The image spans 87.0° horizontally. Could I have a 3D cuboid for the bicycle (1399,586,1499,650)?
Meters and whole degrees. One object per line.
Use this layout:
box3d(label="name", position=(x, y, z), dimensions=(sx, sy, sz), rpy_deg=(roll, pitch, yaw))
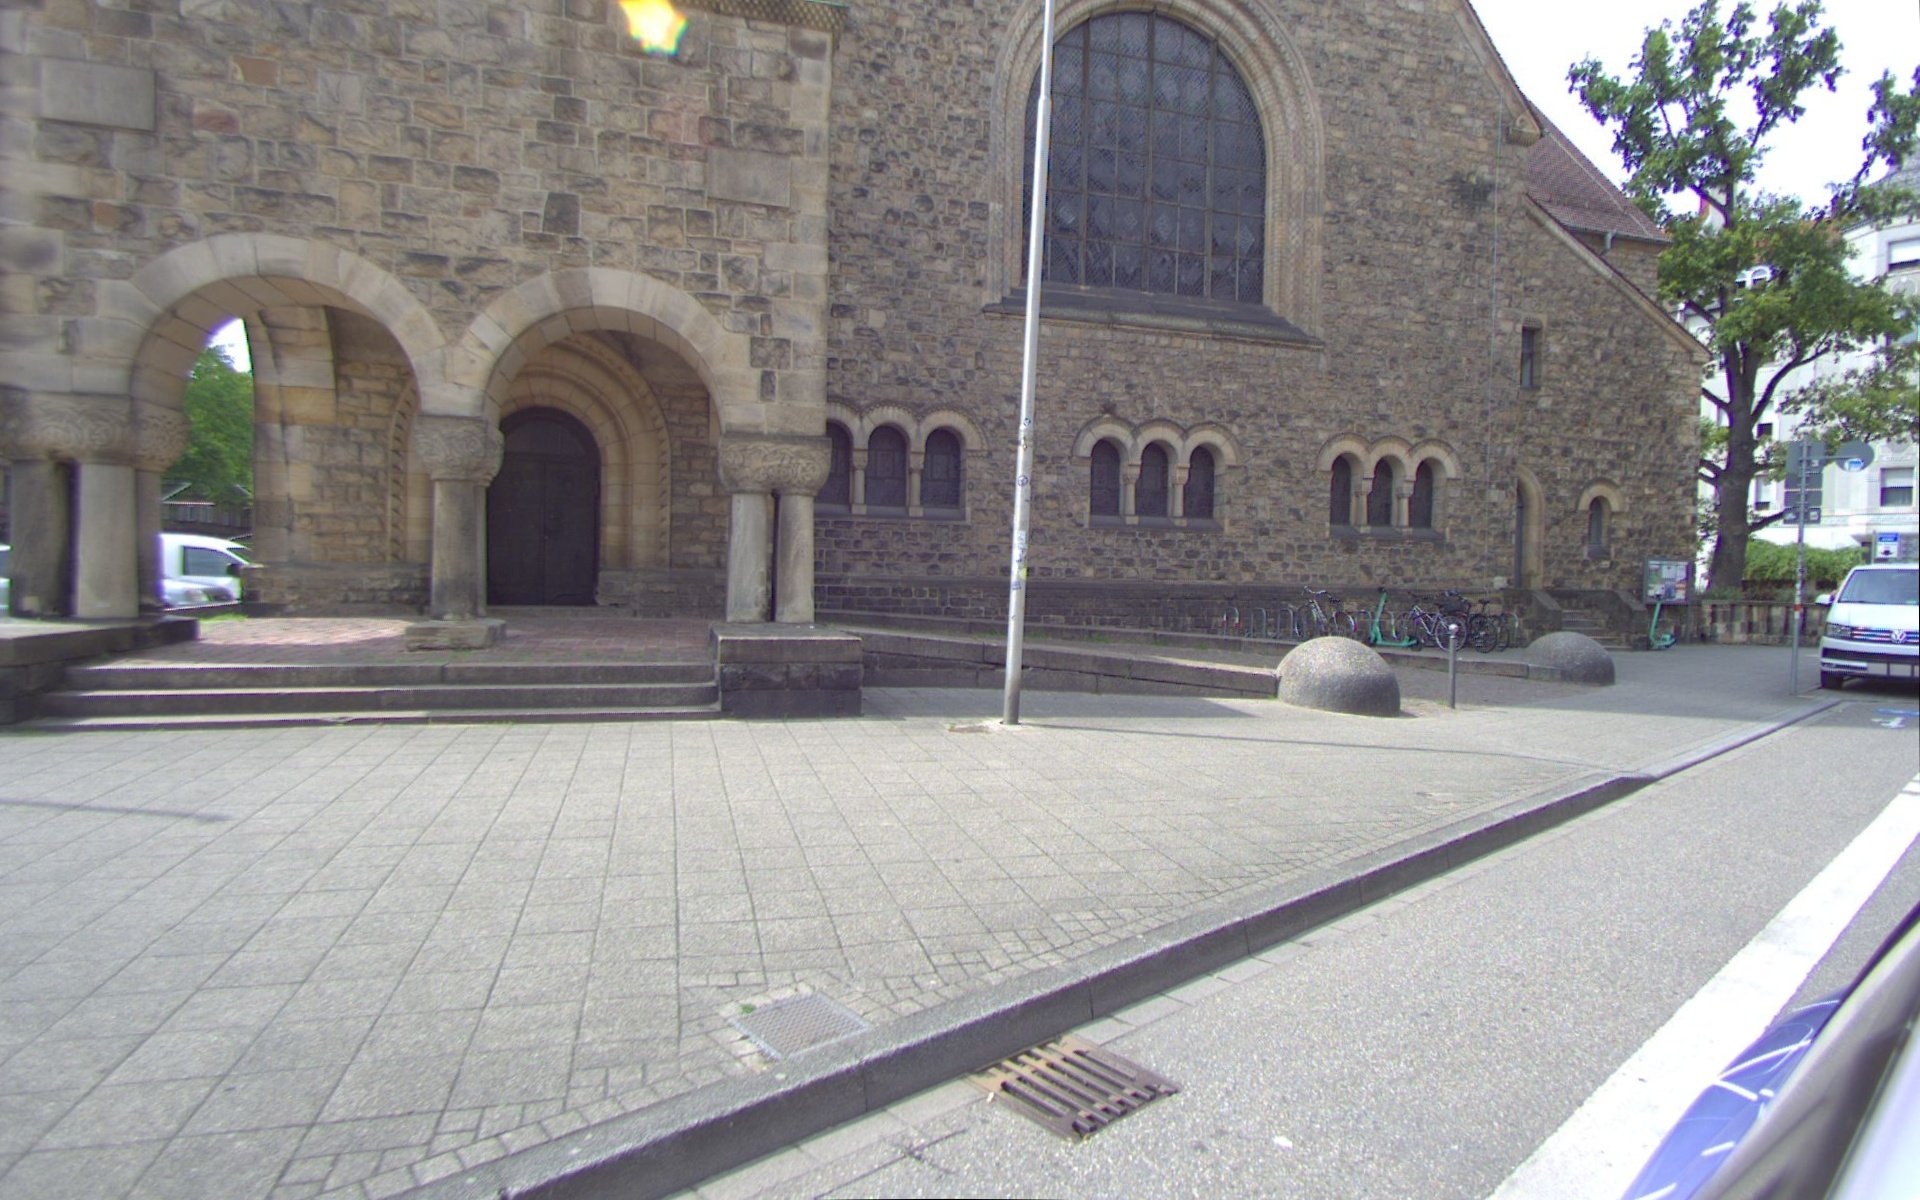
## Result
box3d(label="bicycle", position=(9.272, 0.320, 19.269), dimensions=(0.534, 1.125, 1.786), rpy_deg=(1, 2, -21))

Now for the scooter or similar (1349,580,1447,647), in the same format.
box3d(label="scooter or similar", position=(8.152, 0.235, 18.920), dimensions=(0.534, 1.154, 1.786), rpy_deg=(1, 2, -21))

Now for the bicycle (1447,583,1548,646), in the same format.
box3d(label="bicycle", position=(10.432, 0.262, 19.712), dimensions=(0.534, 1.125, 1.786), rpy_deg=(1, 2, -21))

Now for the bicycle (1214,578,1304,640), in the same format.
box3d(label="bicycle", position=(5.360, 0.137, 18.278), dimensions=(0.534, 0.968, 1.787), rpy_deg=(1, 3, -21))

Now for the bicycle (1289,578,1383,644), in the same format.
box3d(label="bicycle", position=(6.907, 0.186, 18.680), dimensions=(0.534, 1.125, 1.786), rpy_deg=(1, 2, -21))

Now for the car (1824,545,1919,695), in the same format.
box3d(label="car", position=(15.157, 0.233, 15.644), dimensions=(5.036, 2.054, 2.018), rpy_deg=(-1, 4, -42))

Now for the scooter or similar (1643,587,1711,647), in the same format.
box3d(label="scooter or similar", position=(15.126, 0.346, 21.338), dimensions=(1.413, 1.222, 0.547), rpy_deg=(1, 1, -27))

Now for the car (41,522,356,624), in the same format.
box3d(label="car", position=(-14.134, -0.486, 19.099), dimensions=(4.328, 1.747, 1.956), rpy_deg=(1, 1, -16))

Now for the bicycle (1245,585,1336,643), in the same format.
box3d(label="bicycle", position=(5.992, 0.230, 18.469), dimensions=(0.534, 0.969, 1.786), rpy_deg=(1, 2, -21))

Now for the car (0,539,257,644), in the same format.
box3d(label="car", position=(-13.892, -0.155, 16.141), dimensions=(3.942, 1.562, 2.024), rpy_deg=(1, 1, -16))

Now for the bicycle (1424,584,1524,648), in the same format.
box3d(label="bicycle", position=(9.844, 0.285, 19.467), dimensions=(0.534, 1.125, 1.779), rpy_deg=(1, 2, -21))
